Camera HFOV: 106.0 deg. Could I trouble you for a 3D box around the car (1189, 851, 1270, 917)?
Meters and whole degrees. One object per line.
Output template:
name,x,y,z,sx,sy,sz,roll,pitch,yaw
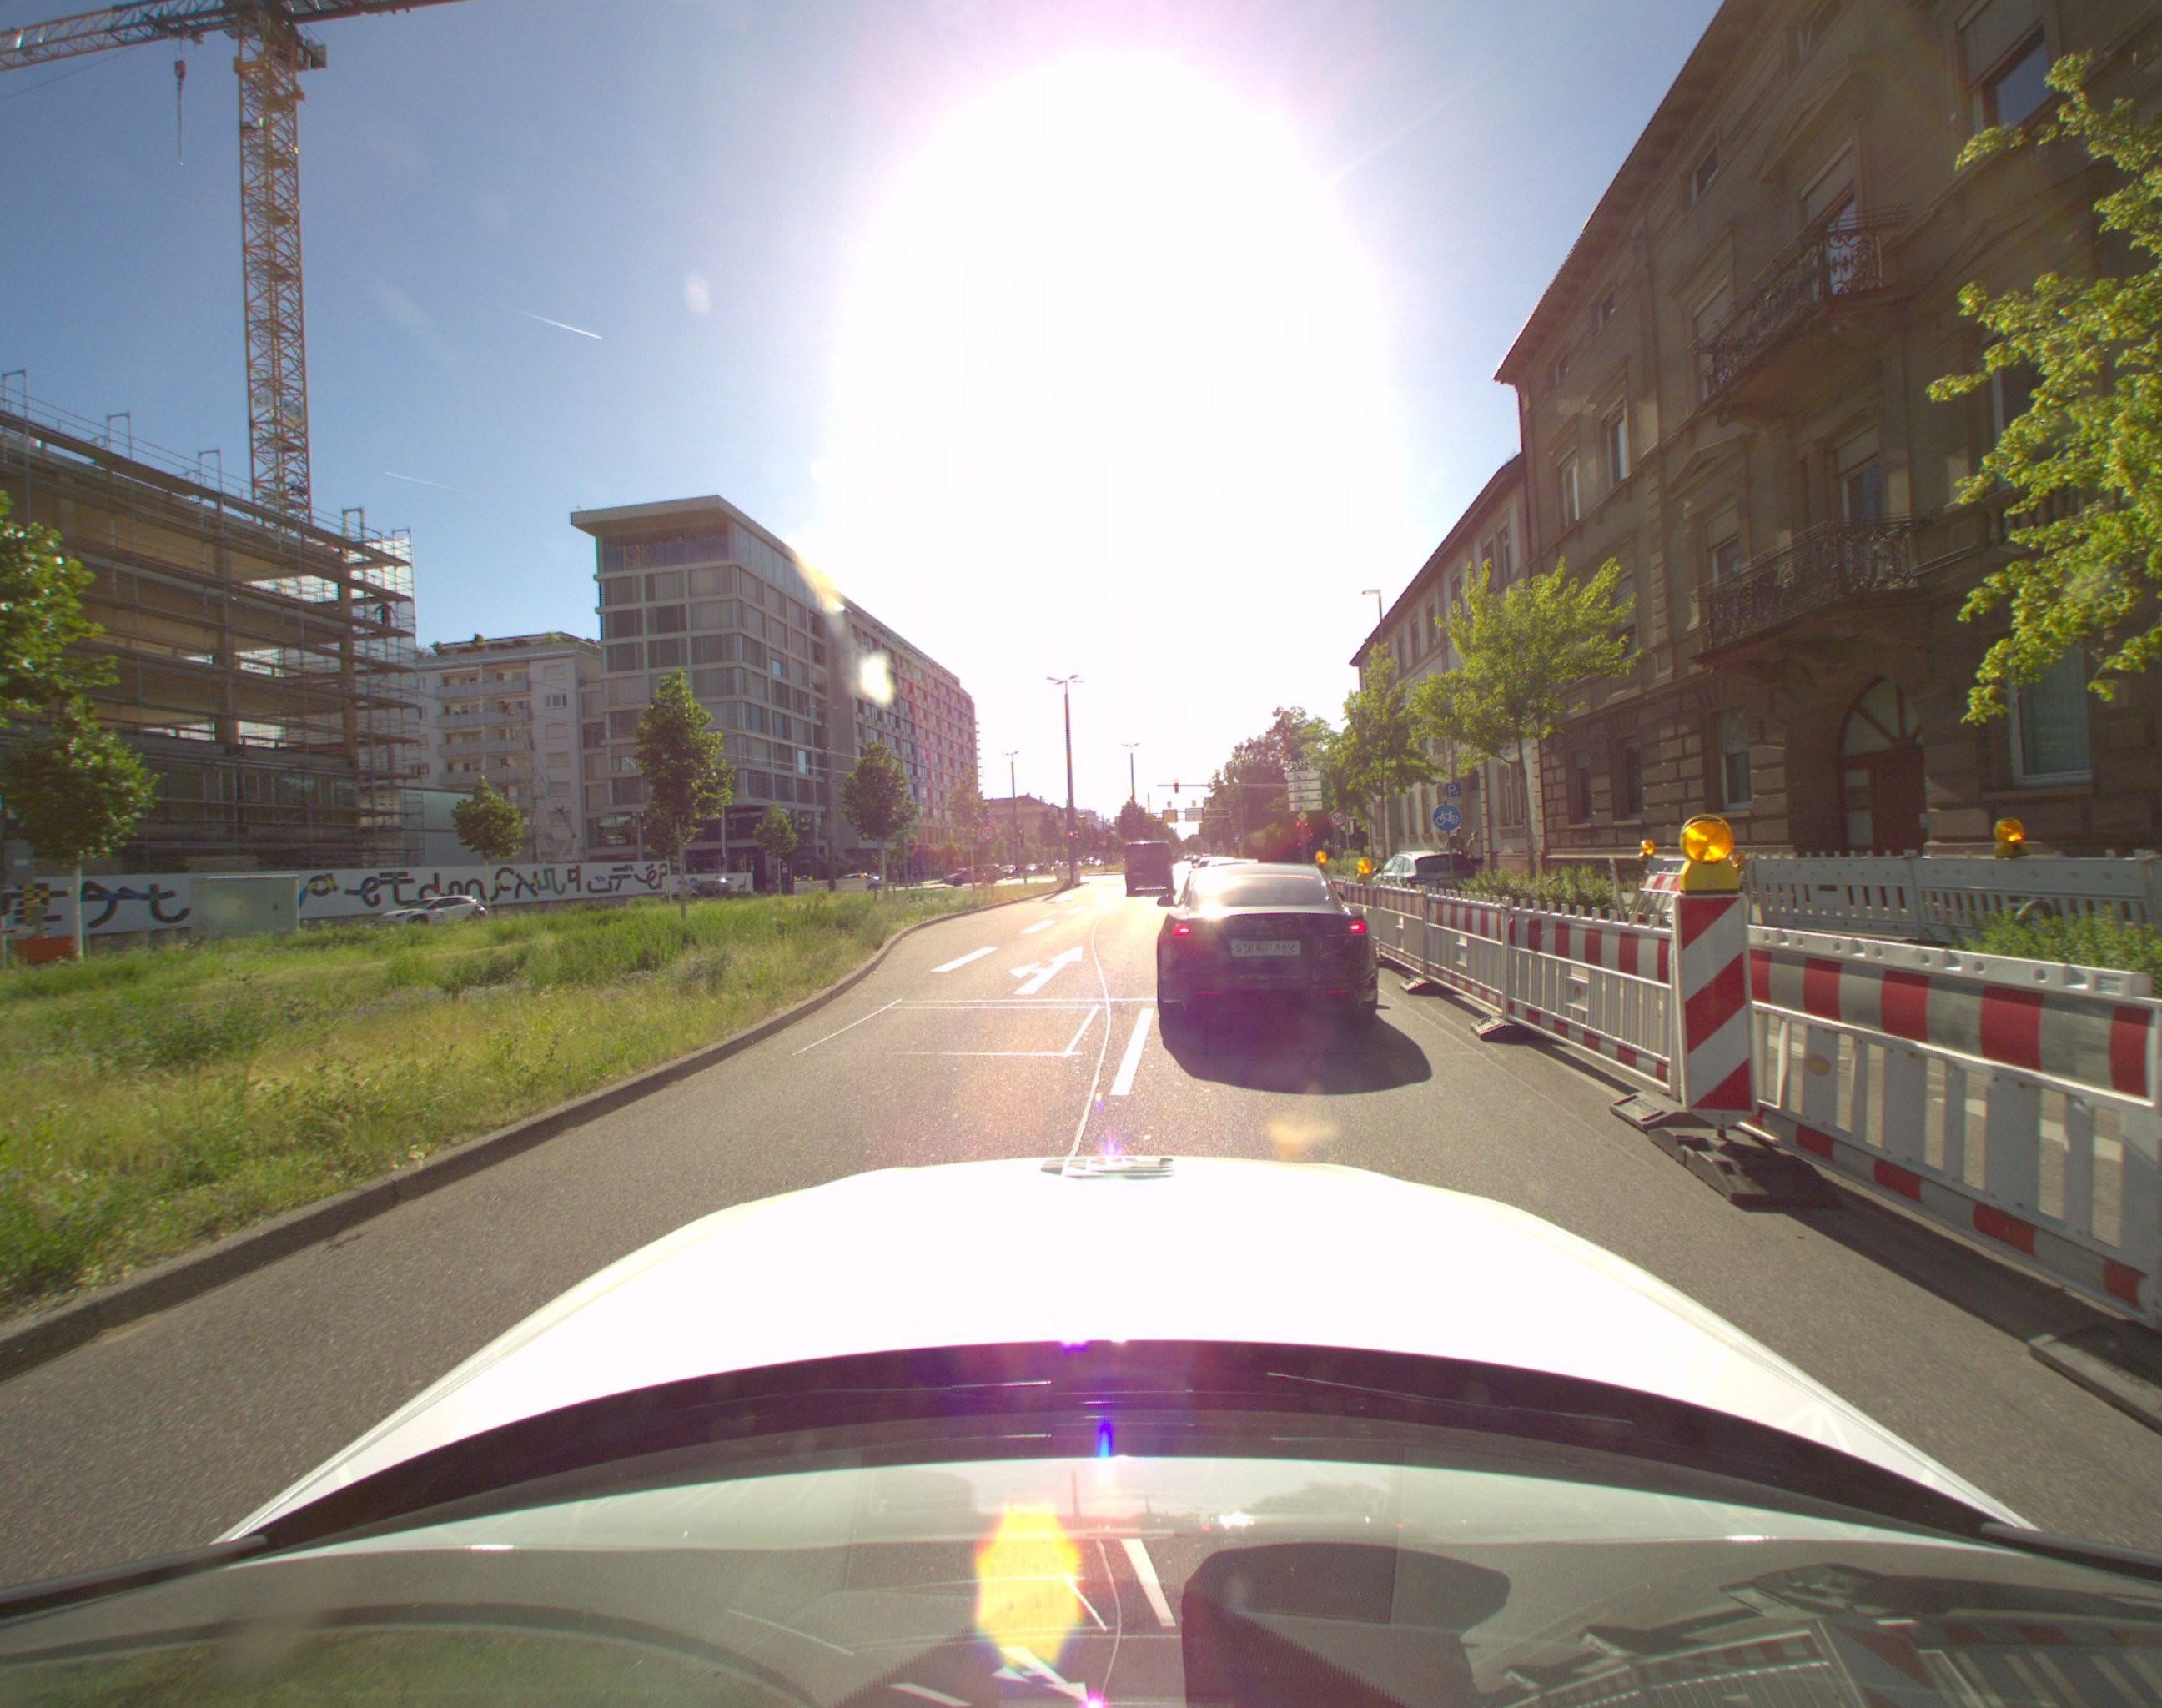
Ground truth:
car,3.651,0.658,20.559,1.738,1.427,4.849,-2,0,8

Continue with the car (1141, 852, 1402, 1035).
car,1.851,0.736,8.867,2.040,1.444,4.535,-1,0,8

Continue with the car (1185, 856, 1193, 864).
car,25.930,1.412,195.661,1.782,1.873,3.857,-2,-1,7

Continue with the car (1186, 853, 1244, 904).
car,4.495,0.766,27.396,1.739,1.527,4.015,-2,0,9

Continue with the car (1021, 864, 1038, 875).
car,-8.065,2.404,127.582,1.780,1.651,4.010,-3,-1,9

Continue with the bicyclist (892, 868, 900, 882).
bicyclist,-20.593,2.330,90.634,0.589,1.580,0.895,-1,-1,12

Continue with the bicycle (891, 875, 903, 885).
bicycle,-20.449,2.874,90.595,0.583,1.100,1.628,-1,-1,12

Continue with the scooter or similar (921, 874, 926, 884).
scooter or similar,-16.691,2.653,86.418,0.227,0.947,0.769,-3,-1,9

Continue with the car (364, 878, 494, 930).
car,-28.306,2.121,35.526,1.894,1.918,4.004,-3,0,17

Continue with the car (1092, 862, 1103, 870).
car,3.810,2.634,185.114,1.780,1.651,4.010,-3,-1,9

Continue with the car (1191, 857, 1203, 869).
car,18.902,1.529,132.639,1.782,1.873,3.857,-2,-1,7

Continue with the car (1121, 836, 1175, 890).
car,3.115,0.369,36.968,2.206,2.267,4.493,-2,0,7

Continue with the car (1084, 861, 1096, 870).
car,1.805,2.311,163.319,1.797,1.651,4.010,-3,-1,9

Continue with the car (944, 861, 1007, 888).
car,-8.109,1.570,62.577,4.523,1.792,1.988,-3,0,-17

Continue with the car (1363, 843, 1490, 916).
car,8.418,0.557,20.265,1.638,1.475,4.711,-5,-1,8

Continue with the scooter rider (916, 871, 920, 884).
scooter rider,-17.354,2.500,86.772,0.340,1.453,0.240,-3,-1,8

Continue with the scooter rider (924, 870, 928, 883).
scooter rider,-16.455,2.386,86.409,0.340,1.453,0.240,-3,-1,8

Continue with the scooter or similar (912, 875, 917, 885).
scooter or similar,-17.712,2.773,86.706,0.284,0.947,0.767,-3,-1,1

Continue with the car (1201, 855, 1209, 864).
car,29.044,1.303,190.907,1.782,1.873,3.857,-2,-1,7

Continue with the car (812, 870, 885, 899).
car,-16.291,2.126,57.248,1.974,1.792,4.556,-3,0,37

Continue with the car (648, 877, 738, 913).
car,-22.819,2.376,48.091,1.976,1.792,4.552,-3,0,23

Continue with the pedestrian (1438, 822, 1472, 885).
pedestrian,11.858,-0.020,25.860,0.655,1.913,0.589,-6,-1,8

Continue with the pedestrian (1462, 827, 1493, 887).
pedestrian,12.570,0.093,25.805,0.560,1.821,0.589,-6,-1,8

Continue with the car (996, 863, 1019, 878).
car,-8.908,1.966,99.356,1.780,1.651,4.010,-3,-1,9
